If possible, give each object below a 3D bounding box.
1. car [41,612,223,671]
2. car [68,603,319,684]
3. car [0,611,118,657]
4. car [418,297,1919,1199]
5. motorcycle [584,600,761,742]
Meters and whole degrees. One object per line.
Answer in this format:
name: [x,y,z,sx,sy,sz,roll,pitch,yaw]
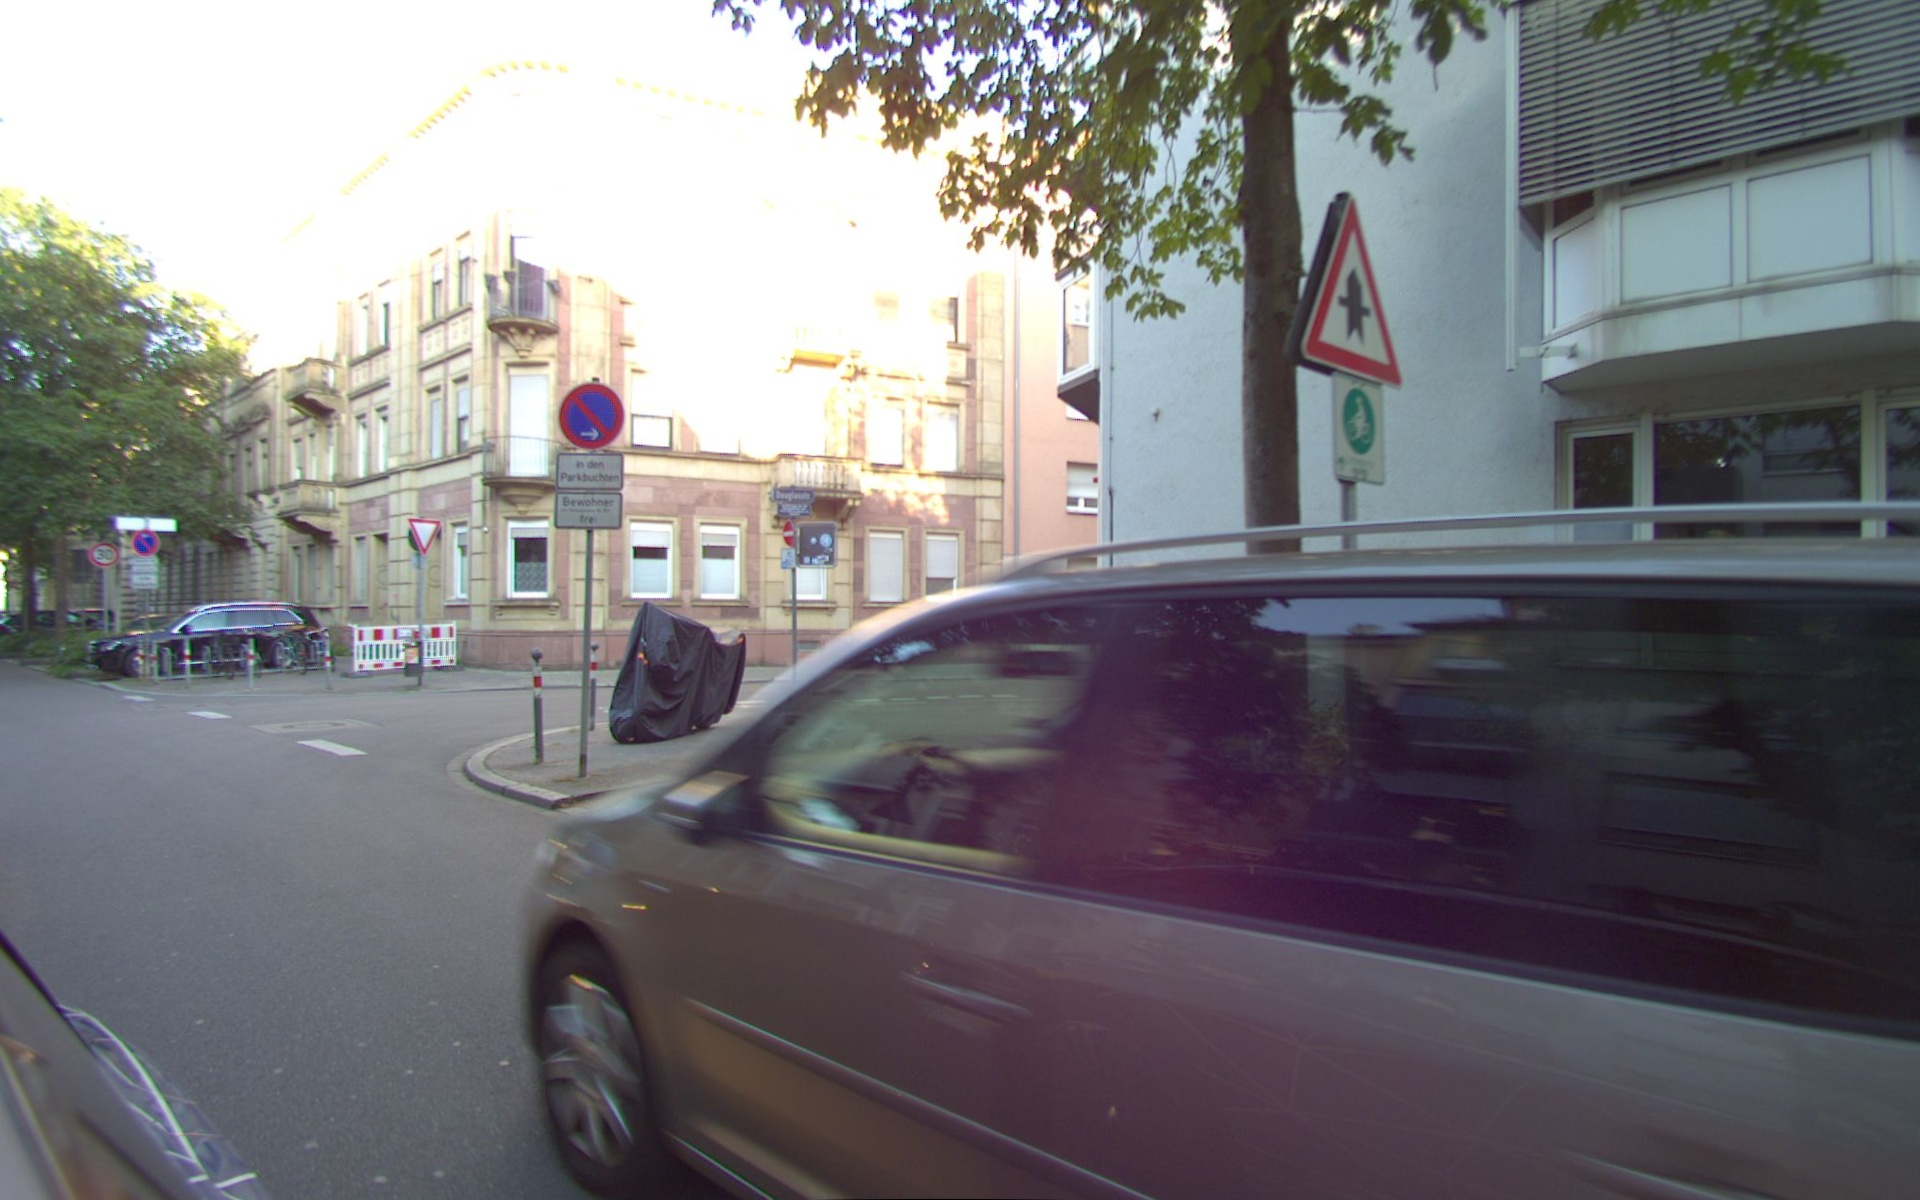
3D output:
car: [-23.773,1.156,29.248,3.935,1.597,2.004,1,-1,-38]
car: [-18.107,0.955,24.035,4.538,1.748,2.143,1,-1,-44]
car: [-36.216,1.313,39.876,2.000,1.728,4.469,-1,-1,42]
car: [0.544,0.615,2.273,4.385,1.701,1.763,-1,-1,43]
motorcycle: [-3.264,0.760,11.765,0.895,1.481,2.218,0,-1,19]
